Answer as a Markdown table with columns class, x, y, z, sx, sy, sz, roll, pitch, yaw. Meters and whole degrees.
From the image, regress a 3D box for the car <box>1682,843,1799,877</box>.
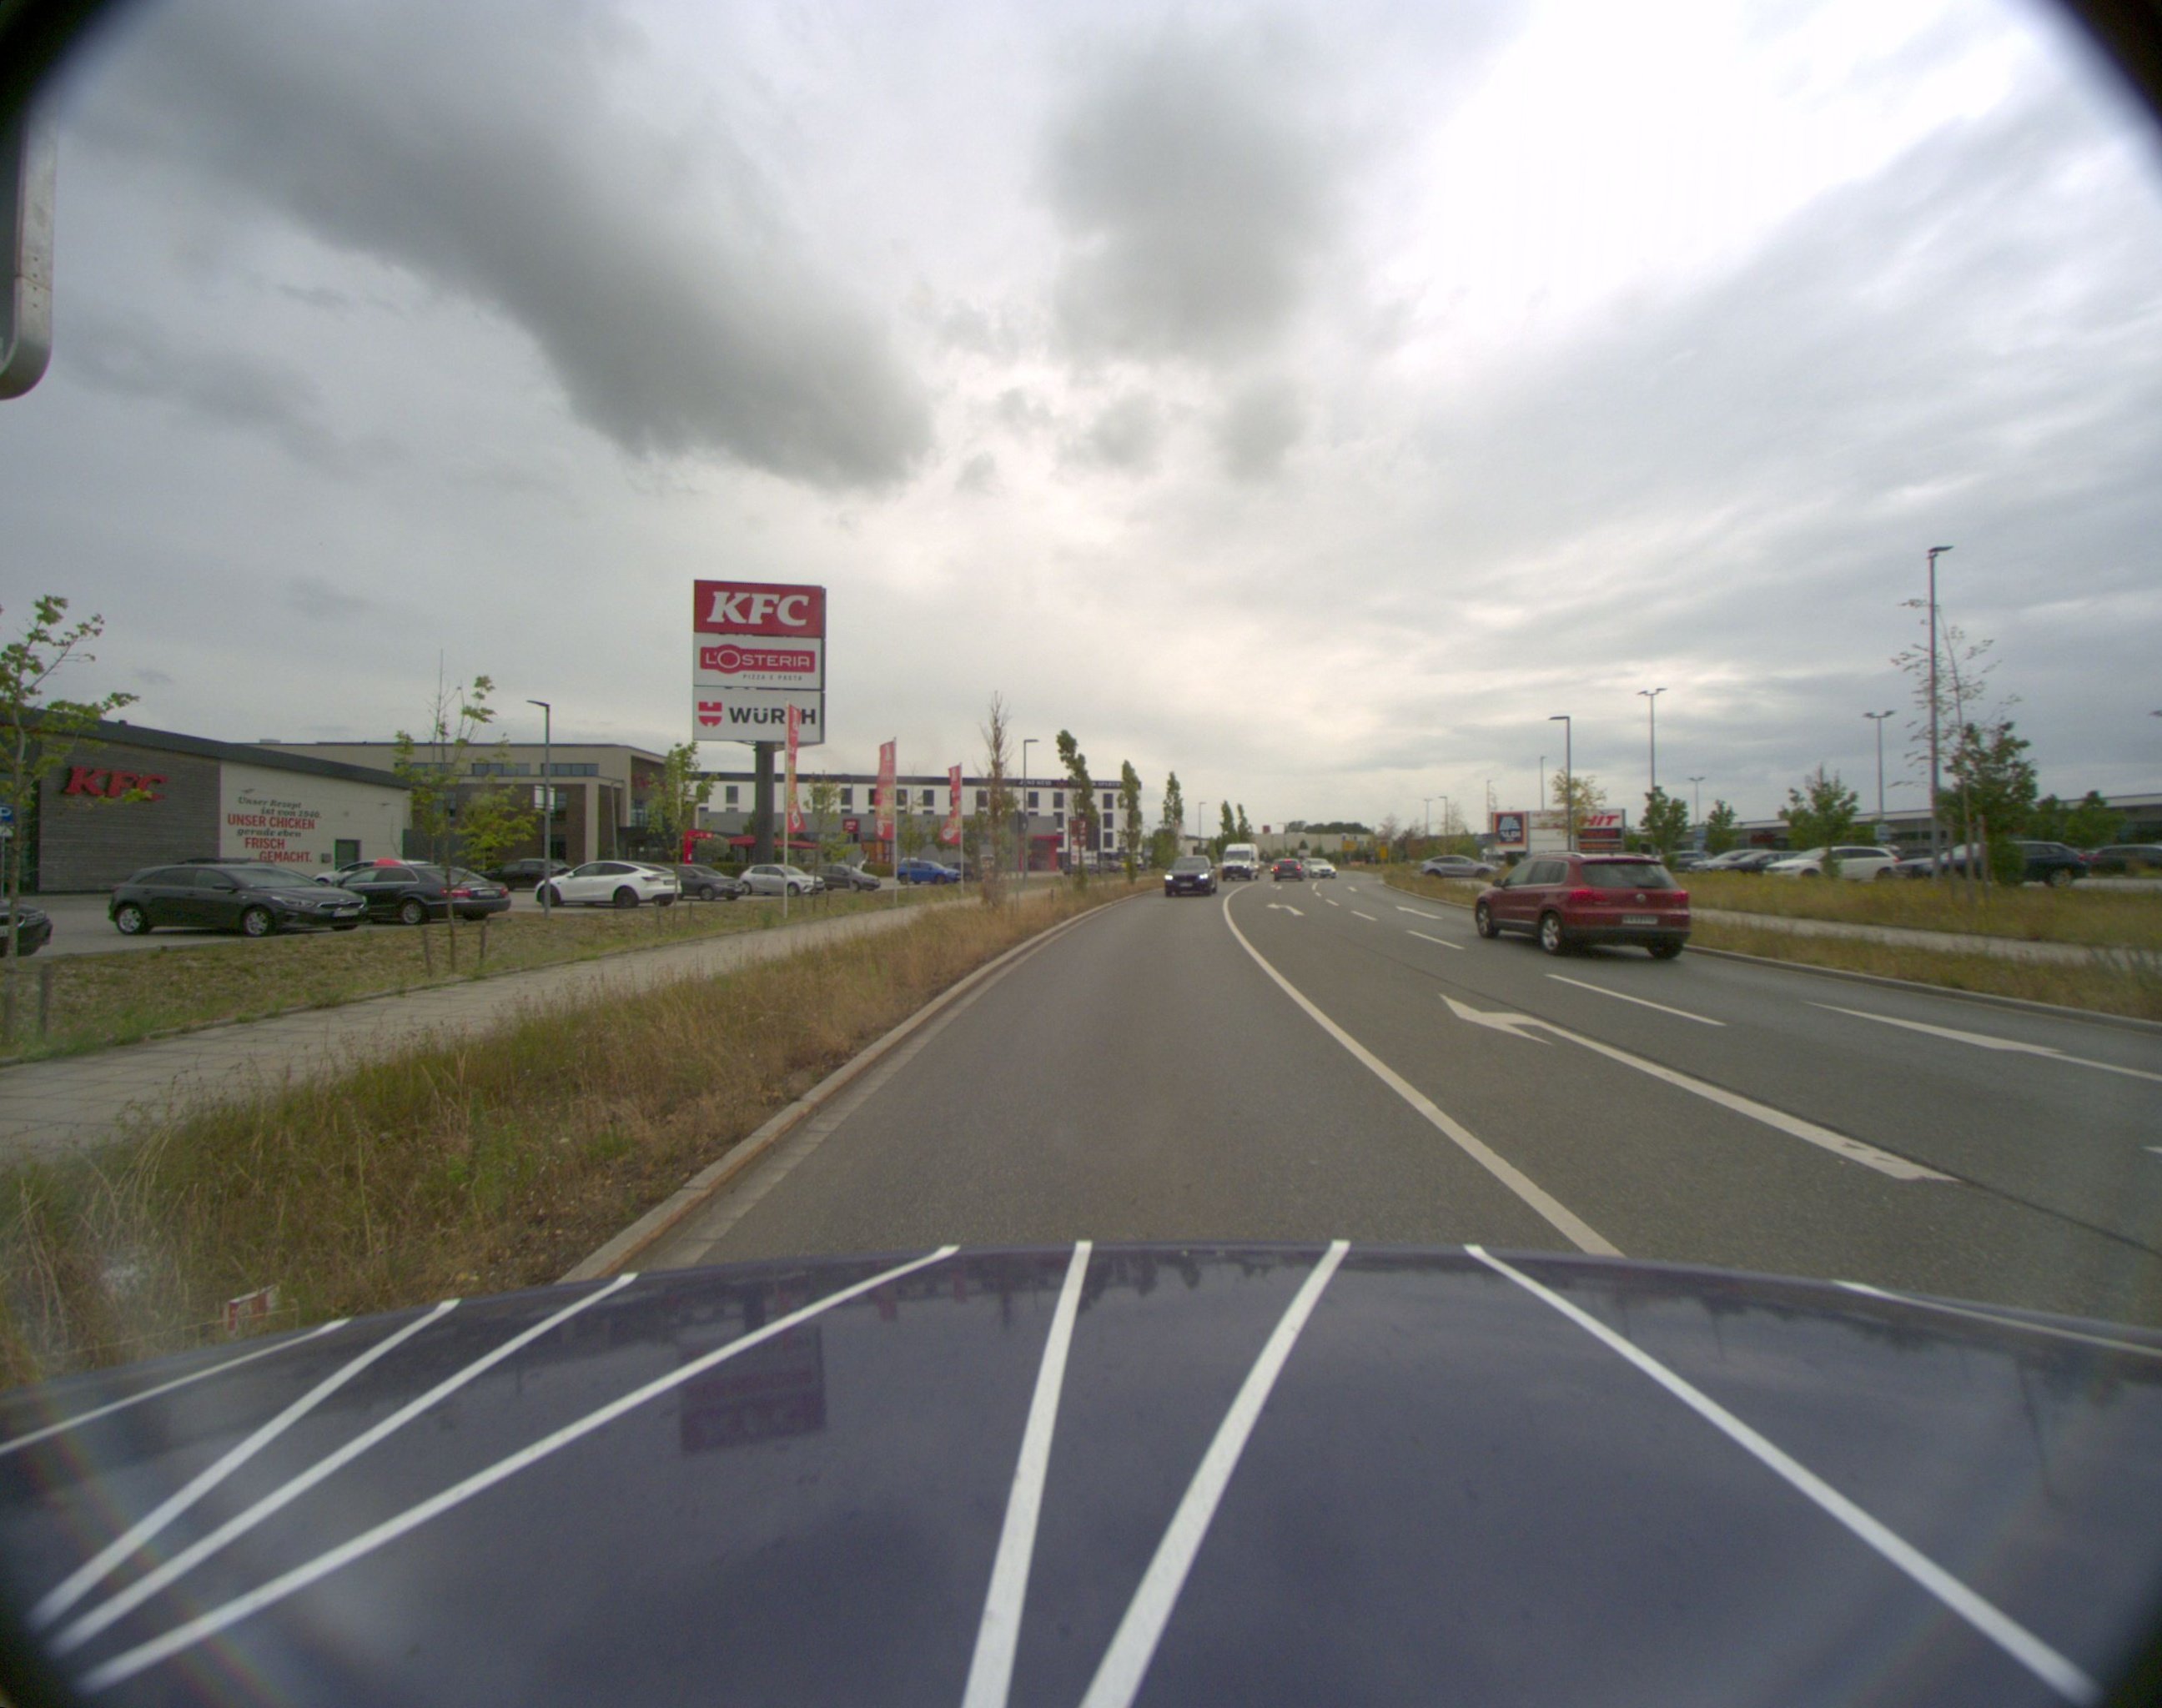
| class | x | y | z | sx | sy | sz | roll | pitch | yaw |
| --- | --- | --- | --- | --- | --- | --- | --- | --- | --- |
| car | 35.041 | 0.343 | 40.490 | 4.248 | 1.713 | 2.031 | -1 | 0 | 15 |

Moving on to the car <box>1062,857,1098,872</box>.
| class | x | y | z | sx | sy | sz | roll | pitch | yaw |
| --- | --- | --- | --- | --- | --- | --- | --- | --- | --- |
| car | -0.067 | 1.005 | 72.771 | 1.964 | 1.451 | 4.839 | 0 | -1 | 18 |

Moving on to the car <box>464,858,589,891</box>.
| class | x | y | z | sx | sy | sz | roll | pitch | yaw |
| --- | --- | --- | --- | --- | --- | --- | --- | --- | --- |
| car | -26.872 | 0.997 | 36.911 | 4.574 | 1.510 | 1.977 | 1 | 0 | -2 |

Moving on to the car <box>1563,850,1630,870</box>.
| class | x | y | z | sx | sy | sz | roll | pitch | yaw |
| --- | --- | --- | --- | --- | --- | --- | --- | --- | --- |
| car | 43.356 | 0.479 | 64.031 | 4.305 | 1.645 | 2.083 | 0 | 0 | 18 |

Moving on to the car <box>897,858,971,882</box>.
| class | x | y | z | sx | sy | sz | roll | pitch | yaw |
| --- | --- | --- | --- | --- | --- | --- | --- | --- | --- |
| car | -9.598 | 1.048 | 49.669 | 4.267 | 1.511 | 1.968 | 0 | 0 | 19 |

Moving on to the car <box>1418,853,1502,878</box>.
| class | x | y | z | sx | sy | sz | roll | pitch | yaw |
| --- | --- | --- | --- | --- | --- | --- | --- | --- | --- |
| car | 24.440 | 0.710 | 49.043 | 4.599 | 1.552 | 2.004 | -1 | 0 | 37 |

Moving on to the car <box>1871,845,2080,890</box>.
| class | x | y | z | sx | sy | sz | roll | pitch | yaw |
| --- | --- | --- | --- | --- | --- | --- | --- | --- | --- |
| car | 30.094 | 0.459 | 25.733 | 4.238 | 1.426 | 2.000 | 0 | 0 | 14 |

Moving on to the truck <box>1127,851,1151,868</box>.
| class | x | y | z | sx | sy | sz | roll | pitch | yaw |
| --- | --- | --- | --- | --- | --- | --- | --- | --- | --- |
| truck | 8.217 | 0.820 | 106.825 | 2.230 | 2.312 | 8.223 | 0 | -1 | 12 |

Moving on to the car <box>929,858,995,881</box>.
| class | x | y | z | sx | sy | sz | roll | pitch | yaw |
| --- | --- | --- | --- | --- | --- | --- | --- | --- | --- |
| car | -8.148 | 1.059 | 51.907 | 3.991 | 1.485 | 1.985 | 0 | 0 | 21 |

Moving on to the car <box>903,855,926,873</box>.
| class | x | y | z | sx | sy | sz | roll | pitch | yaw |
| --- | --- | --- | --- | --- | --- | --- | --- | --- | --- |
| car | -16.417 | 0.942 | 74.991 | 2.000 | 1.687 | 4.789 | 0 | 0 | -9 |

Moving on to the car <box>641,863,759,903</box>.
| class | x | y | z | sx | sy | sz | roll | pitch | yaw |
| --- | --- | --- | --- | --- | --- | --- | --- | --- | --- |
| car | -15.513 | 1.147 | 31.031 | 3.993 | 1.476 | 1.942 | 0 | 1 | 13 |

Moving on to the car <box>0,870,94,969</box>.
| class | x | y | z | sx | sy | sz | roll | pitch | yaw |
| --- | --- | --- | --- | --- | --- | --- | --- | --- | --- |
| car | -17.984 | 0.972 | 11.116 | 4.478 | 1.428 | 2.074 | 0 | 0 | 1 |

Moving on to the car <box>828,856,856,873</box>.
| class | x | y | z | sx | sy | sz | roll | pitch | yaw |
| --- | --- | --- | --- | --- | --- | --- | --- | --- | --- |
| car | -23.196 | 1.019 | 74.021 | 1.986 | 1.619 | 4.324 | 0 | 0 | -9 |

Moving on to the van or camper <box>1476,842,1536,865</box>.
| class | x | y | z | sx | sy | sz | roll | pitch | yaw |
| --- | --- | --- | --- | --- | --- | --- | --- | --- | --- |
| van or camper | 50.736 | -0.064 | 90.789 | 5.862 | 2.783 | 2.245 | 0 | 1 | 11 |

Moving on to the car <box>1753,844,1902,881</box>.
| class | x | y | z | sx | sy | sz | roll | pitch | yaw |
| --- | --- | --- | --- | --- | --- | --- | --- | --- | --- |
| car | 32.288 | 0.374 | 33.010 | 4.254 | 1.550 | 1.991 | 0 | 0 | 10 |

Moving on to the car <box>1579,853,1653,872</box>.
| class | x | y | z | sx | sy | sz | roll | pitch | yaw |
| --- | --- | --- | --- | --- | --- | --- | --- | --- | --- |
| car | 41.640 | 0.691 | 59.292 | 4.323 | 1.448 | 2.014 | 0 | 0 | 19 |

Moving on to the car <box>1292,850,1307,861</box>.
| class | x | y | z | sx | sy | sz | roll | pitch | yaw |
| --- | --- | --- | --- | --- | --- | --- | --- | --- | --- |
| car | 33.807 | 0.277 | 117.565 | 1.995 | 1.627 | 4.709 | 2 | 0 | 19 |

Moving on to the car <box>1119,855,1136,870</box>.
| class | x | y | z | sx | sy | sz | roll | pitch | yaw |
| --- | --- | --- | --- | --- | --- | --- | --- | --- | --- |
| car | 5.562 | 1.018 | 90.210 | 1.766 | 1.676 | 4.414 | 0 | 0 | 8 |

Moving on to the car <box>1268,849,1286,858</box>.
| class | x | y | z | sx | sy | sz | roll | pitch | yaw |
| --- | --- | --- | --- | --- | --- | --- | --- | --- | --- |
| car | 48.156 | -0.109 | 186.450 | 4.003 | 2.002 | 1.640 | -1 | 0 | -19 |

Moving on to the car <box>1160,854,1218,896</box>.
| class | x | y | z | sx | sy | sz | roll | pitch | yaw |
| --- | --- | --- | --- | --- | --- | --- | --- | --- | --- |
| car | 4.639 | 0.858 | 32.117 | 1.996 | 1.654 | 4.004 | -1 | -1 | 14 |

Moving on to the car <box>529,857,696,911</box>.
| class | x | y | z | sx | sy | sz | roll | pitch | yaw |
| --- | --- | --- | --- | --- | --- | --- | --- | --- | --- |
| car | -15.929 | 0.977 | 25.959 | 4.569 | 1.635 | 2.090 | 1 | 0 | 9 |

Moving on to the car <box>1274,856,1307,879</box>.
| class | x | y | z | sx | sy | sz | roll | pitch | yaw |
| --- | --- | --- | --- | --- | --- | --- | --- | --- | --- |
| car | 13.607 | 0.852 | 49.259 | 1.831 | 1.411 | 4.251 | -1 | 0 | 18 |

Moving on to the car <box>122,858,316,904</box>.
| class | x | y | z | sx | sy | sz | roll | pitch | yaw |
| --- | --- | --- | --- | --- | --- | --- | --- | --- | --- |
| car | -30.168 | 0.929 | 26.718 | 4.375 | 1.510 | 2.047 | 1 | 0 | -2 |

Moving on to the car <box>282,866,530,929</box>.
| class | x | y | z | sx | sy | sz | roll | pitch | yaw |
| --- | --- | --- | --- | --- | --- | --- | --- | --- | --- |
| car | -16.686 | 1.038 | 18.941 | 4.527 | 1.460 | 2.033 | 0 | 0 | 5 |

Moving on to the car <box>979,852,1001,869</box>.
| class | x | y | z | sx | sy | sz | roll | pitch | yaw |
| --- | --- | --- | --- | --- | --- | --- | --- | --- | --- |
| car | -10.519 | 0.742 | 87.612 | 2.001 | 1.975 | 4.631 | 0 | 0 | -12 |

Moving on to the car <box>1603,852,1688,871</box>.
| class | x | y | z | sx | sy | sz | roll | pitch | yaw |
| --- | --- | --- | --- | --- | --- | --- | --- | --- | --- |
| car | 39.559 | 0.541 | 53.354 | 4.318 | 1.332 | 2.030 | 0 | 0 | 16 |

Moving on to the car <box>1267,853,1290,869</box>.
| class | x | y | z | sx | sy | sz | roll | pitch | yaw |
| --- | --- | --- | --- | --- | --- | --- | --- | --- | --- |
| car | 19.905 | 0.681 | 76.709 | 1.755 | 1.575 | 4.002 | -1 | 0 | 7 |

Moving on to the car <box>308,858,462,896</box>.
| class | x | y | z | sx | sy | sz | roll | pitch | yaw |
| --- | --- | --- | --- | --- | --- | --- | --- | --- | --- |
| car | -29.292 | 0.937 | 32.082 | 4.573 | 1.510 | 2.081 | 1 | 0 | 0 |

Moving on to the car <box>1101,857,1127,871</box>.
| class | x | y | z | sx | sy | sz | roll | pitch | yaw |
| --- | --- | --- | --- | --- | --- | --- | --- | --- | --- |
| car | 3.679 | 1.103 | 84.136 | 1.996 | 1.488 | 4.613 | 0 | 1 | 14 |

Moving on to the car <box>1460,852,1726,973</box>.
| class | x | y | z | sx | sy | sz | roll | pitch | yaw |
| --- | --- | --- | --- | --- | --- | --- | --- | --- | --- |
| car | 8.344 | 0.831 | 12.970 | 1.802 | 1.659 | 4.328 | 2 | 0 | 4 |

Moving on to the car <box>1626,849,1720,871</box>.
| class | x | y | z | sx | sy | sz | roll | pitch | yaw |
| --- | --- | --- | --- | --- | --- | --- | --- | --- | --- |
| car | 38.457 | 0.381 | 49.503 | 4.362 | 1.383 | 2.169 | 0 | 0 | 21 |

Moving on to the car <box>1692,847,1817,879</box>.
| class | x | y | z | sx | sy | sz | roll | pitch | yaw |
| --- | --- | --- | --- | --- | --- | --- | --- | --- | --- |
| car | 33.663 | 0.475 | 38.132 | 4.246 | 1.504 | 2.049 | -1 | 0 | 20 |

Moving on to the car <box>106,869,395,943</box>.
| class | x | y | z | sx | sy | sz | roll | pitch | yaw |
| --- | --- | --- | --- | --- | --- | --- | --- | --- | --- |
| car | -17.364 | 1.042 | 16.037 | 4.093 | 1.429 | 1.943 | 0 | 0 | 3 |

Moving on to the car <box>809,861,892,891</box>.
| class | x | y | z | sx | sy | sz | roll | pitch | yaw |
| --- | --- | --- | --- | --- | --- | --- | --- | --- | --- |
| car | -12.199 | 1.137 | 40.214 | 3.762 | 1.485 | 1.892 | 0 | 0 | 16 |

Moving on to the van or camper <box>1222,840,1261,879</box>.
| class | x | y | z | sx | sy | sz | roll | pitch | yaw |
| --- | --- | --- | --- | --- | --- | --- | --- | --- | --- |
| van or camper | 11.554 | 0.396 | 54.395 | 2.261 | 2.601 | 5.704 | 0 | 0 | 17 |

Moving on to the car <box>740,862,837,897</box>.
| class | x | y | z | sx | sy | sz | roll | pitch | yaw |
| --- | --- | --- | --- | --- | --- | --- | --- | --- | --- |
| car | -13.689 | 1.174 | 35.629 | 3.866 | 1.473 | 1.904 | 1 | 0 | 15 |

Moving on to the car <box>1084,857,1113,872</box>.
| class | x | y | z | sx | sy | sz | roll | pitch | yaw |
| --- | --- | --- | --- | --- | --- | --- | --- | --- | --- |
| car | 1.834 | 1.059 | 78.105 | 1.866 | 1.428 | 4.886 | 0 | -1 | 16 |

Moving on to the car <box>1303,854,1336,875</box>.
| class | x | y | z | sx | sy | sz | roll | pitch | yaw |
| --- | --- | --- | --- | --- | --- | --- | --- | --- | --- |
| car | 18.214 | 0.782 | 58.154 | 1.883 | 1.460 | 4.196 | 0 | 0 | 10 |
